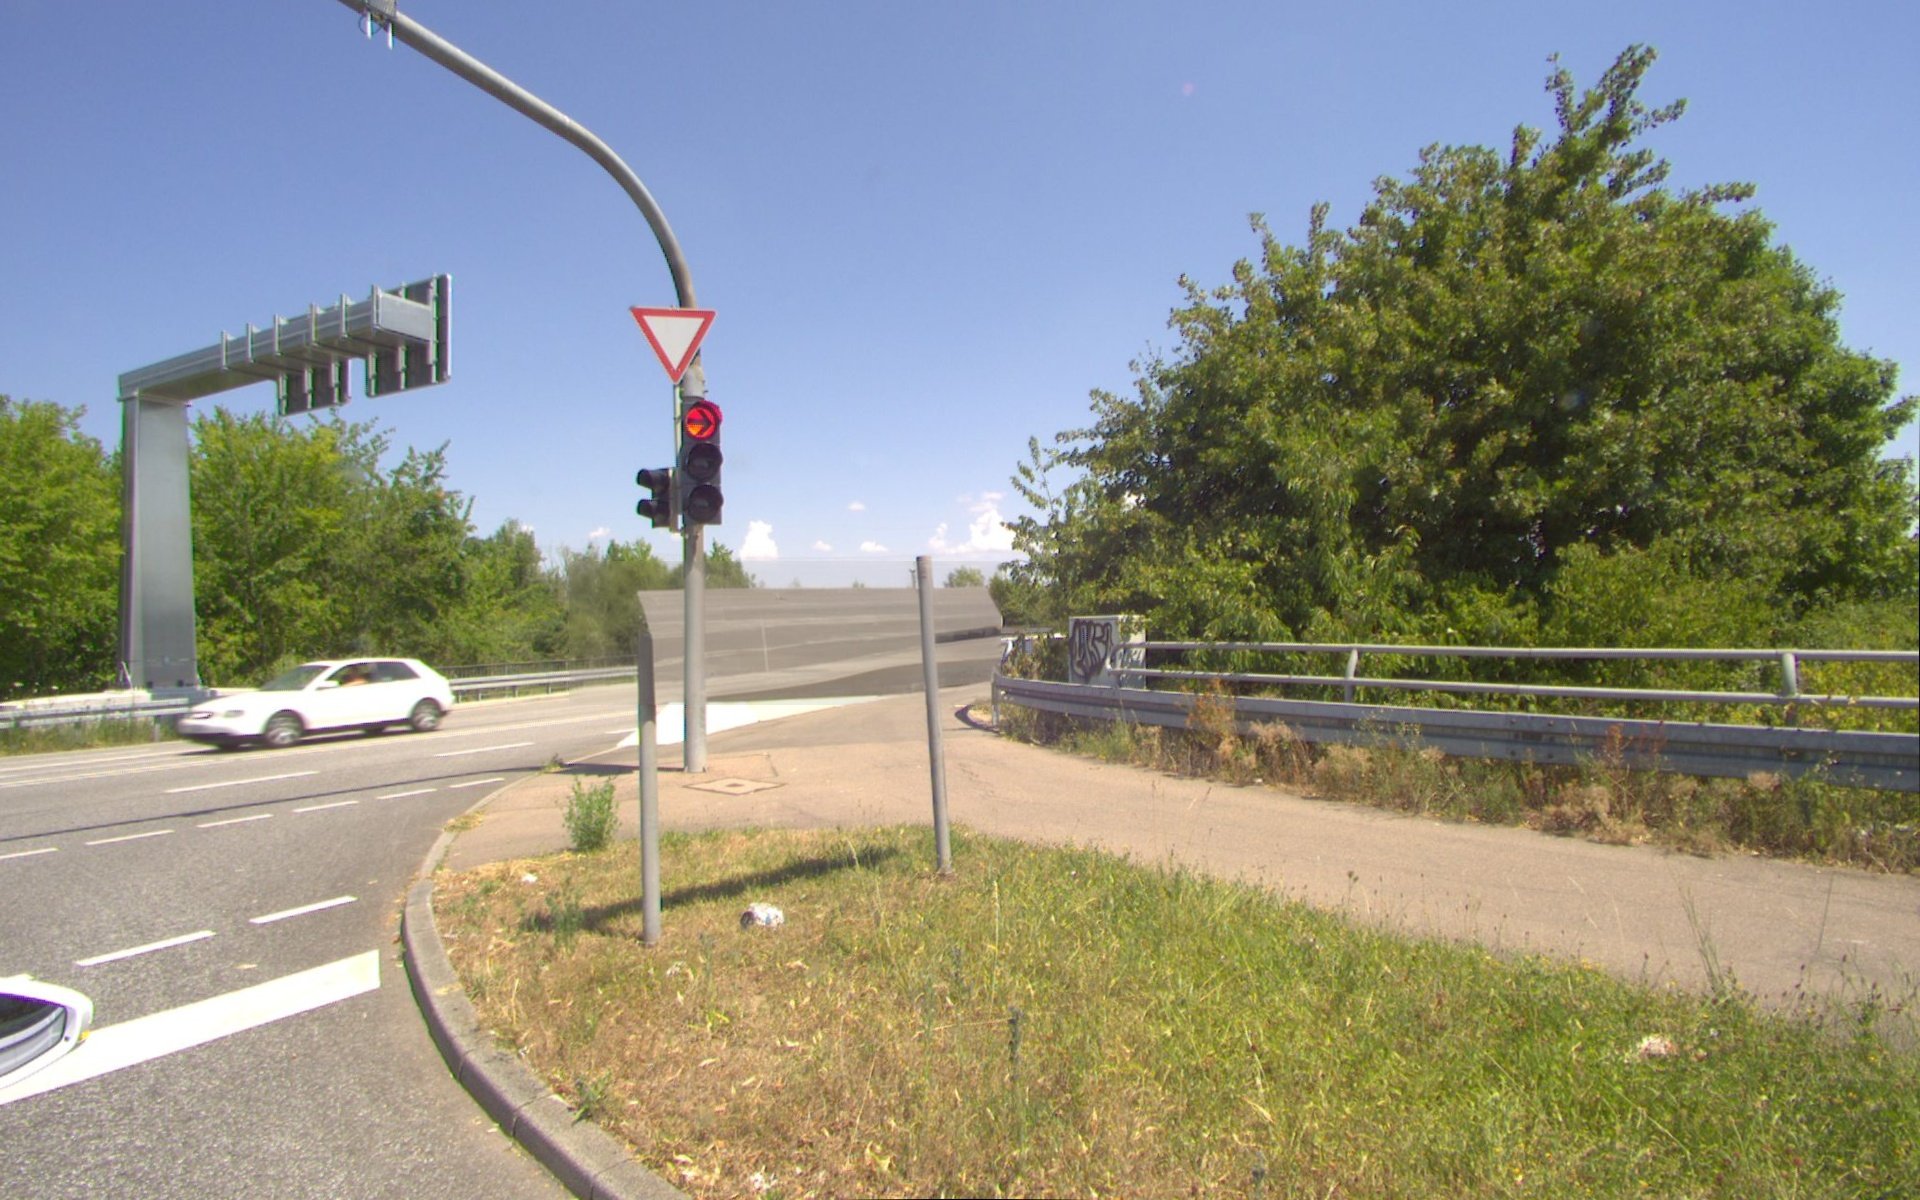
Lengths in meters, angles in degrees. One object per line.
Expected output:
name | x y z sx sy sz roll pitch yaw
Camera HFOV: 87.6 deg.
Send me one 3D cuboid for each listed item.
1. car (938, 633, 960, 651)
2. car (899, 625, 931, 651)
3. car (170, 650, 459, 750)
car | -0.913 3.679 87.463 1.619 1.368 3.973 -4 -4 2
car | -3.002 2.571 68.127 1.868 1.653 4.277 -2 -2 1
car | -11.097 1.681 17.539 1.621 1.412 3.978 -5 -3 26
